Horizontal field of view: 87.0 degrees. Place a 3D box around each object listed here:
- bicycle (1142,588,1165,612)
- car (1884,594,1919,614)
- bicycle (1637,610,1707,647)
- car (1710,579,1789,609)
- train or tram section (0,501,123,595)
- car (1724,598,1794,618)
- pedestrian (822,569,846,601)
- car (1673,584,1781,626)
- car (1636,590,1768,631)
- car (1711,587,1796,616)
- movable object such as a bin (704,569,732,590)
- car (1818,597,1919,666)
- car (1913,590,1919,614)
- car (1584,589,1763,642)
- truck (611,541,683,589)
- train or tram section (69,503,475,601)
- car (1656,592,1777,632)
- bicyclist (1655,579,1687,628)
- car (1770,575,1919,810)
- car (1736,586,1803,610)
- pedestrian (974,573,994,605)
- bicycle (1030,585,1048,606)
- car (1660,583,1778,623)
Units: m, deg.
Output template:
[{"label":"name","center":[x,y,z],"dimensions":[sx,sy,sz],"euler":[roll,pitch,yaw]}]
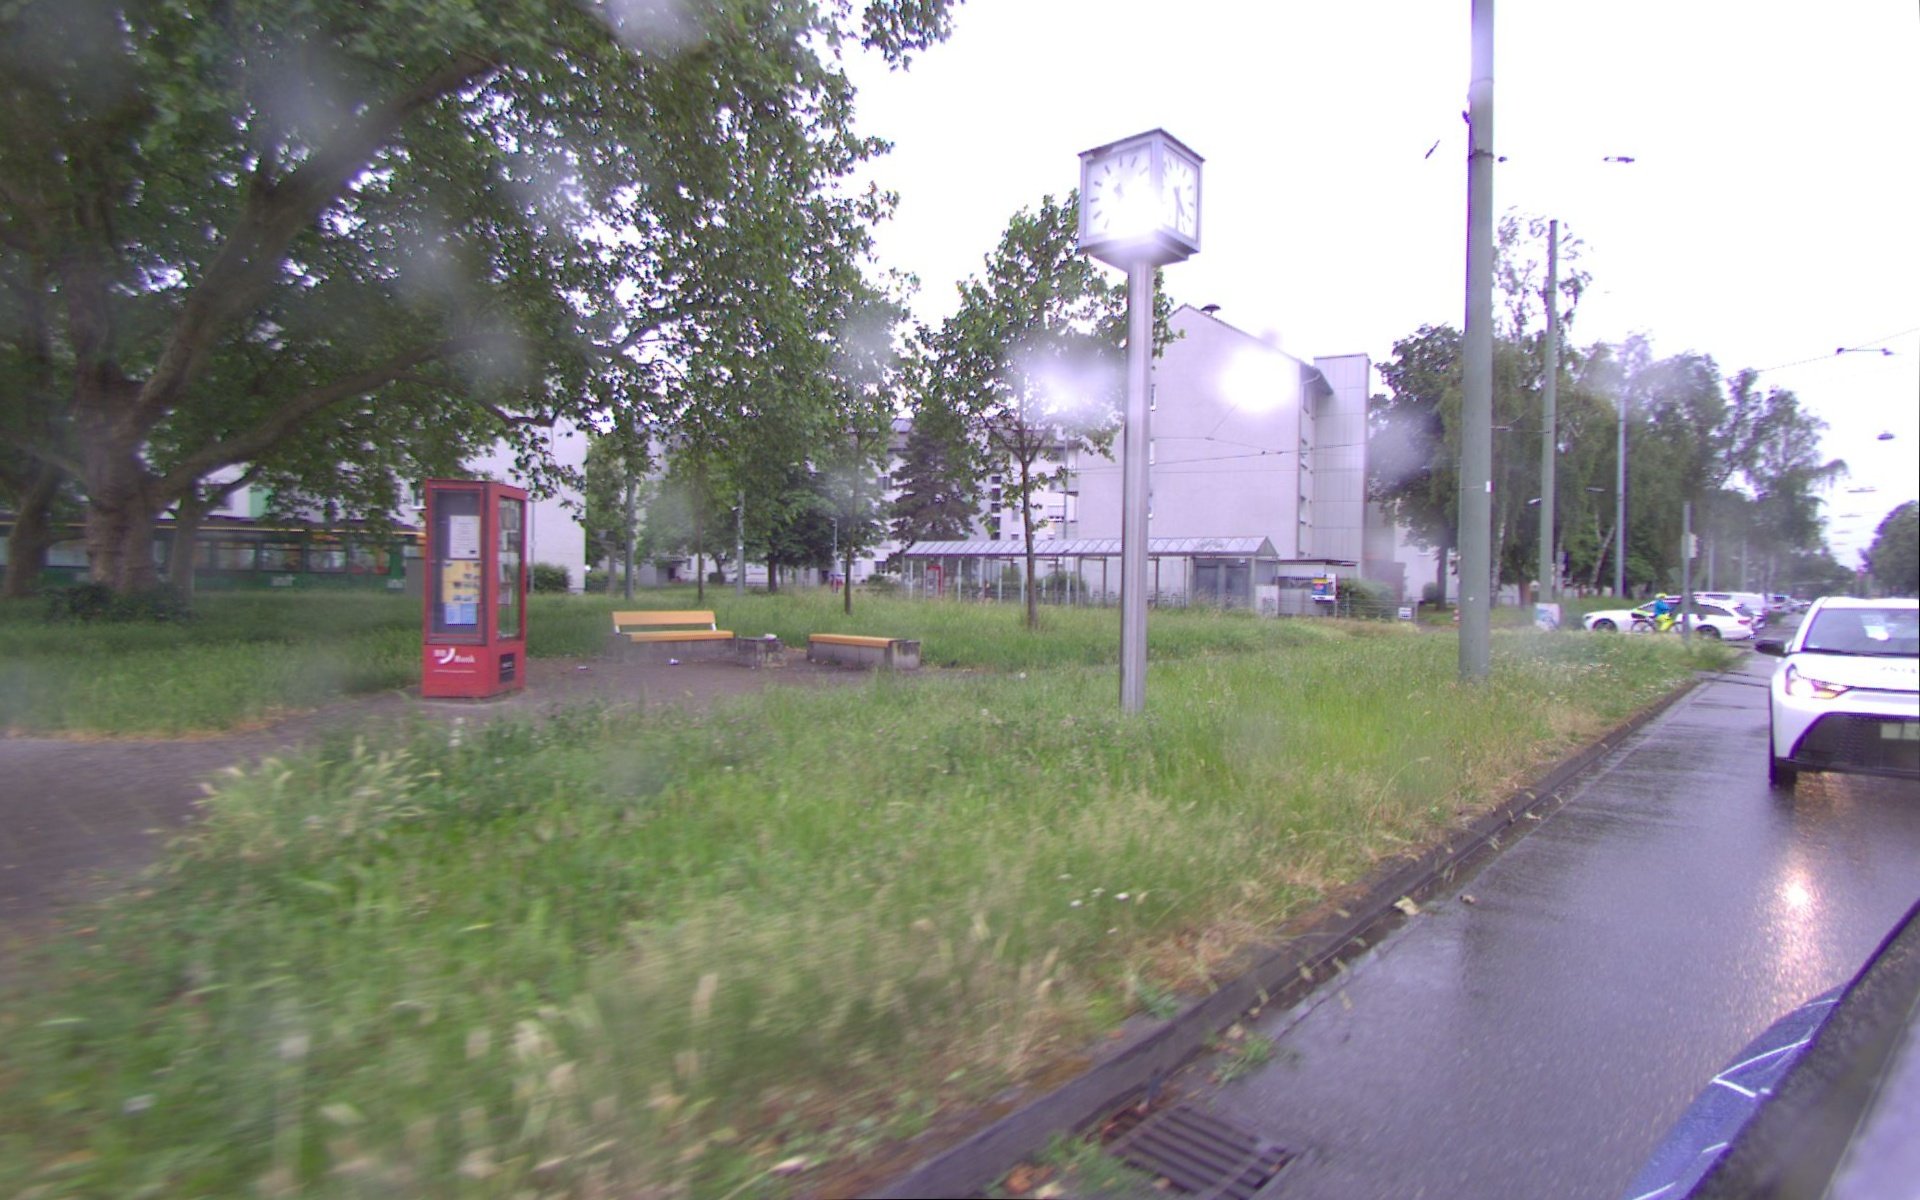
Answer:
[{"label":"bicycle","center":[8.137,-0.004,42.530],"dimensions":[0.376,0.968,1.218],"euler":[-1,-1,44]},{"label":"car","center":[94.577,0.419,100.122],"dimensions":[4.528,1.968,1.871],"euler":[0,0,40]},{"label":"bicycle","center":[23.143,0.922,32.937],"dimensions":[1.734,1.144,0.723],"euler":[1,-1,23]},{"label":"car","center":[57.001,-0.428,73.140],"dimensions":[4.422,2.088,1.699],"euler":[-1,0,39]},{"label":"train or tram section","center":[-42.479,-2.127,40.880],"dimensions":[14.446,3.635,2.716],"euler":[1,-1,-4]},{"label":"car","center":[66.216,0.631,83.897],"dimensions":[4.528,1.603,1.871],"euler":[0,0,40]},{"label":"pedestrian","center":[-7.596,-0.900,61.042],"dimensions":[1.165,1.907,1.056],"euler":[0,-1,-21]},{"label":"car","center":[40.062,0.269,52.945],"dimensions":[4.422,2.088,1.699],"euler":[-1,0,39]},{"label":"car","center":[28.722,0.384,39.236],"dimensions":[3.985,1.505,1.696],"euler":[-1,0,43]},{"label":"car","center":[54.456,0.088,69.499],"dimensions":[4.528,1.968,1.871],"euler":[0,0,40]},{"label":"movable object such as a bin","center":[-23.956,-1.999,100.100],"dimensions":[1.877,2.039,2.227],"euler":[-1,0,15]},{"label":"car","center":[24.838,0.796,27.632],"dimensions":[1.957,1.572,3.939],"euler":[1,3,43]},{"label":"car","center":[82.409,0.180,84.100],"dimensions":[4.528,1.968,1.871],"euler":[0,0,40]},{"label":"car","center":[24.629,0.492,35.048],"dimensions":[4.826,1.476,1.969],"euler":[4,3,42]},{"label":"truck","center":[-24.949,-2.721,80.455],"dimensions":[3.144,3.518,7.140],"euler":[0,0,-39]},{"label":"train or tram section","center":[-28.073,-1.901,41.819],"dimensions":[14.446,3.635,2.716],"euler":[1,-1,-4]},{"label":"car","center":[32.225,0.503,43.152],"dimensions":[3.985,1.606,1.696],"euler":[-1,0,43]},{"label":"bicyclist","center":[23.159,0.113,32.959],"dimensions":[0.690,1.536,0.719],"euler":[1,-1,22]},{"label":"car","center":[7.967,0.706,8.449],"dimensions":[1.714,1.644,3.658],"euler":[1,-1,41]},{"label":"car","center":[71.061,-0.213,88.873],"dimensions":[4.528,2.051,1.871],"euler":[0,0,40]},{"label":"pedestrian","center":[1.197,-0.544,50.051],"dimensions":[0.633,1.592,0.778],"euler":[-1,-1,40]},{"label":"bicycle","center":[3.683,-0.227,47.127],"dimensions":[0.413,0.959,1.296],"euler":[-1,0,25]},{"label":"car","center":[36.637,0.157,48.903],"dimensions":[4.428,1.869,1.696],"euler":[-1,0,43]}]
